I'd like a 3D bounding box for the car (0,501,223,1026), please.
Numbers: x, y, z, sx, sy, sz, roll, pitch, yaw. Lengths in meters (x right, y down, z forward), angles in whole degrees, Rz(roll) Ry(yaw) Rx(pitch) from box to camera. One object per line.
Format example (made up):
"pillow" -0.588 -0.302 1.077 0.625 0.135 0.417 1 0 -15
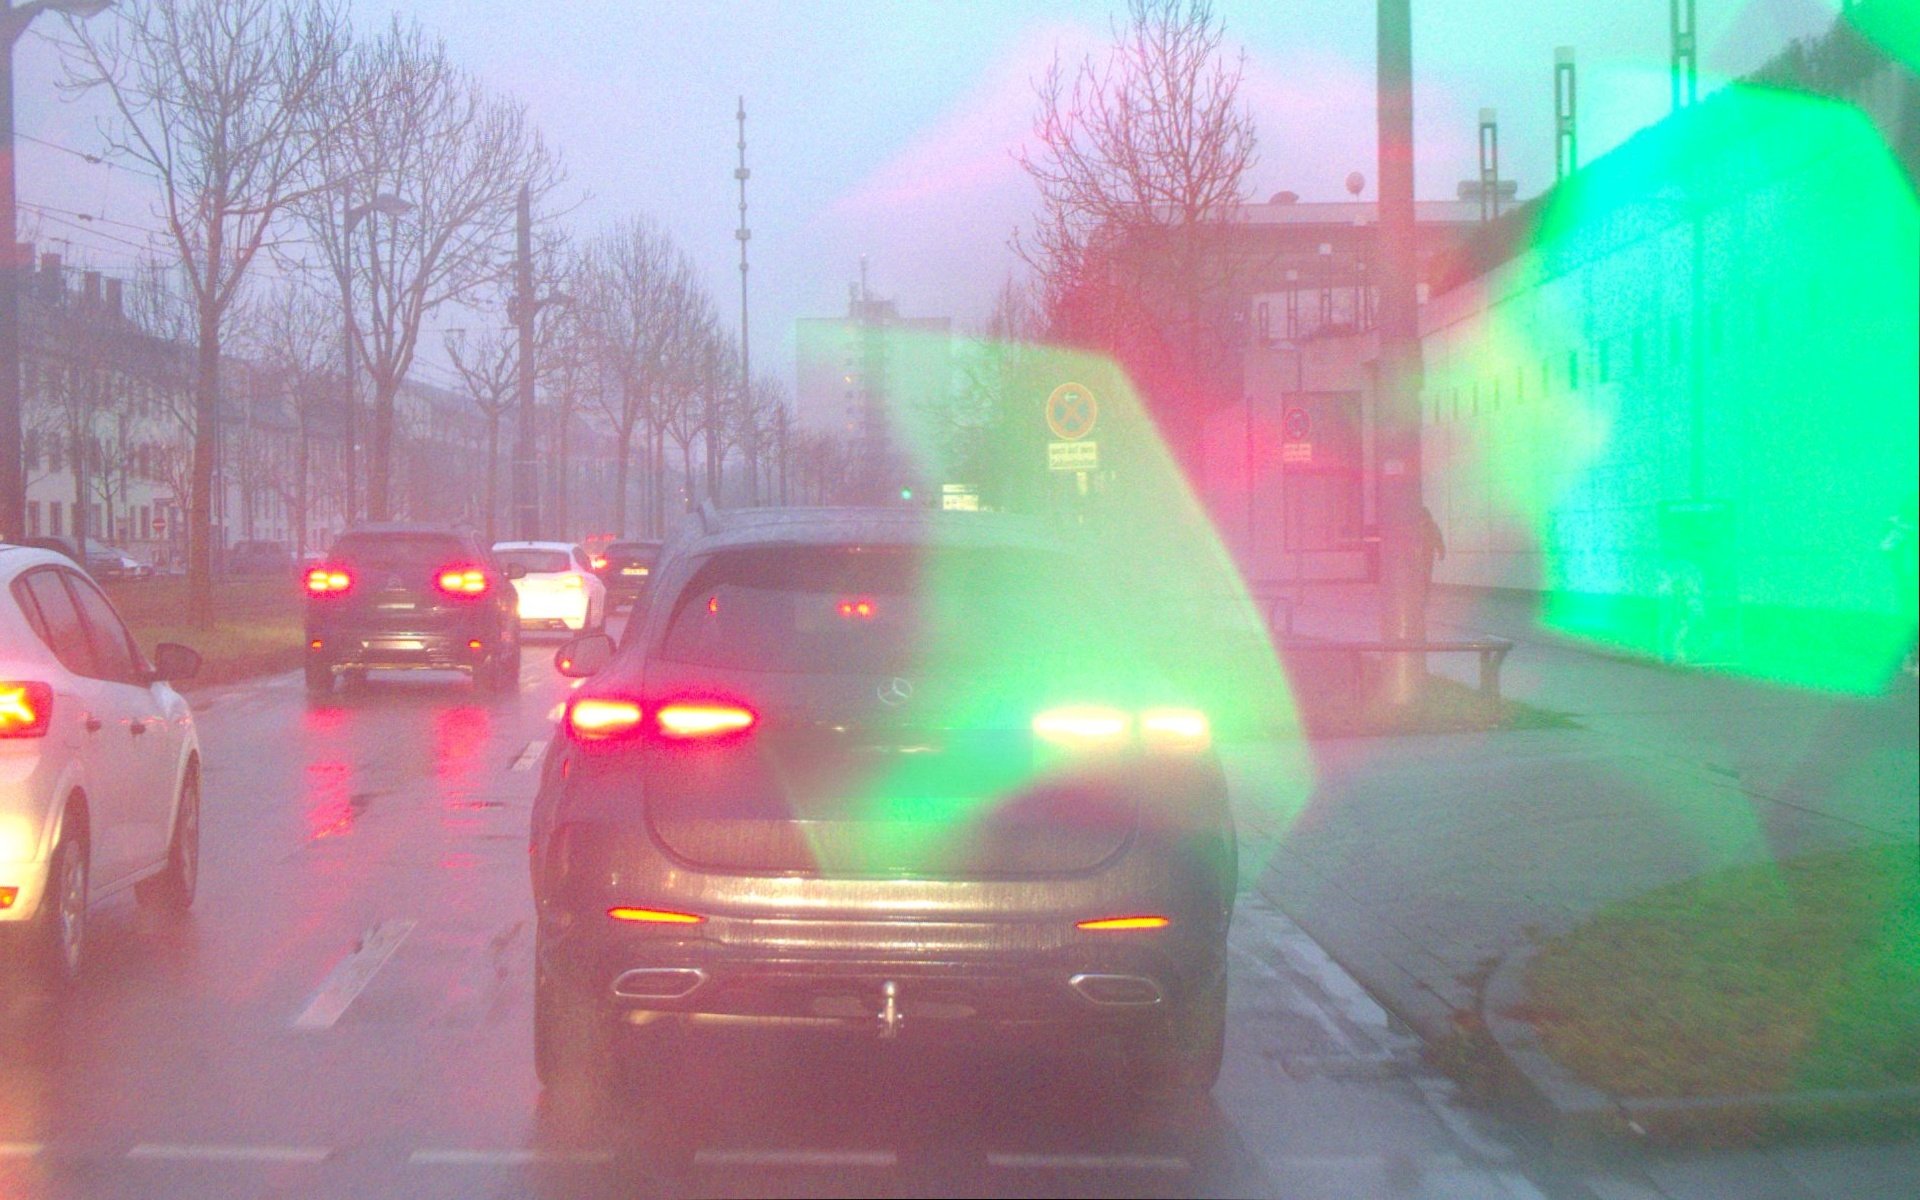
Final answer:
"car" -3.788 0.460 12.410 1.671 1.594 4.054 0 1 -4

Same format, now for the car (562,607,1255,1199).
"car" -0.117 0.861 10.362 1.672 1.594 4.054 0 1 0

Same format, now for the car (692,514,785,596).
"car" -5.651 -1.145 88.173 1.993 2.007 4.000 1 0 1

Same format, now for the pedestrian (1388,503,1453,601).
"pedestrian" 7.708 -0.802 57.561 0.937 1.612 0.695 -1 1 -3

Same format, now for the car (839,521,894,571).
"car" -3.800 -2.209 140.075 1.993 2.007 4.000 -1 1 1

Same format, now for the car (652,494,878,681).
"car" -1.890 -0.157 34.479 1.993 1.738 4.000 -1 1 0

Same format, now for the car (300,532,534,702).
"car" -5.348 0.126 34.303 1.672 1.594 4.054 0 1 0

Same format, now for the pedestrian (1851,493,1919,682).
"pedestrian" 8.215 -0.124 29.811 0.621 1.605 1.067 -1 1 -4

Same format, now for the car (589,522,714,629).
"car" -6.070 -0.490 67.972 1.993 2.007 4.000 1 0 1

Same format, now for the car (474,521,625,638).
"car" -5.856 -0.315 49.400 1.672 1.594 4.054 0 1 0
